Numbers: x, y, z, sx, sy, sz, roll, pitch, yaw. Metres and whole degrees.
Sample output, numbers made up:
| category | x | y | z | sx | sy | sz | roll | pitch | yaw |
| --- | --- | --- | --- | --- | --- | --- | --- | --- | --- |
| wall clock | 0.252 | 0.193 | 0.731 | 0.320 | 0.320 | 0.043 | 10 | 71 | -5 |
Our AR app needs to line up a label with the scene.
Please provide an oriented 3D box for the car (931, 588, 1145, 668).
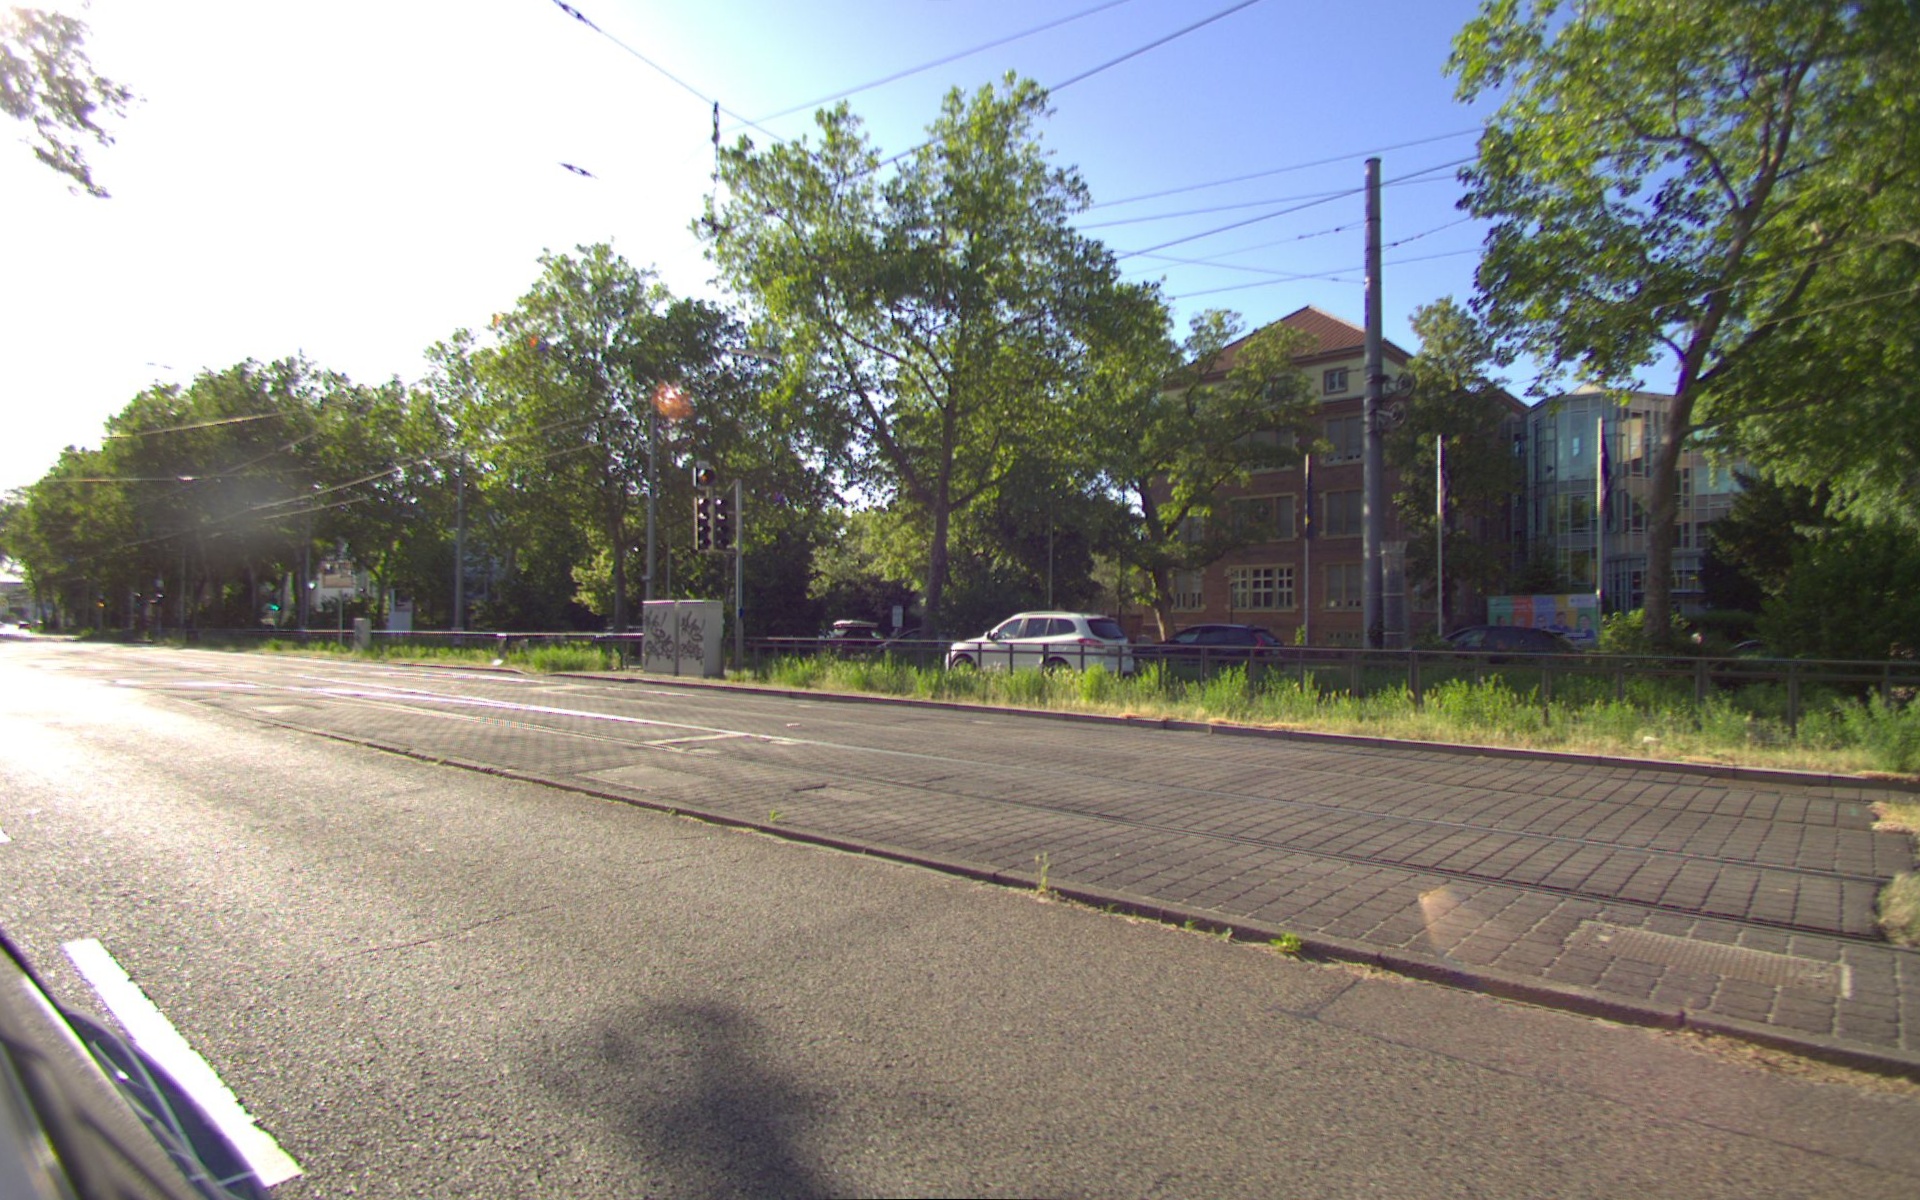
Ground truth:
| category | x | y | z | sx | sy | sz | roll | pitch | yaw |
| --- | --- | --- | --- | --- | --- | --- | --- | --- | --- |
| car | 1.675 | 0.636 | 22.867 | 4.596 | 1.632 | 1.866 | -2 | -1 | 42 |

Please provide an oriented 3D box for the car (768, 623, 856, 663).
| category | x | y | z | sx | sy | sz | roll | pitch | yaw |
| --- | --- | --- | --- | --- | --- | --- | --- | --- | --- |
| car | -6.084 | 1.738 | 41.304 | 1.573 | 1.482 | 3.824 | -1 | -1 | -44 |

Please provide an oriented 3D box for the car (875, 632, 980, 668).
| category | x | y | z | sx | sy | sz | roll | pitch | yaw |
| --- | --- | --- | --- | --- | --- | --- | --- | --- | --- |
| car | -1.218 | 1.782 | 36.535 | 3.763 | 1.231 | 1.603 | -2 | -2 | 43 |

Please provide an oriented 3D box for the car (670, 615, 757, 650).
| category | x | y | z | sx | sy | sz | roll | pitch | yaw |
| --- | --- | --- | --- | --- | --- | --- | --- | --- | --- |
| car | -11.298 | 1.506 | 46.254 | 4.346 | 1.482 | 1.722 | -2 | -1 | 43 |

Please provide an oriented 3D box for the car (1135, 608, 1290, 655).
| category | x | y | z | sx | sy | sz | roll | pitch | yaw |
| --- | --- | --- | --- | --- | --- | --- | --- | --- | --- |
| car | 7.132 | 0.873 | 28.818 | 4.024 | 1.232 | 1.578 | -1 | 0 | 42 |
